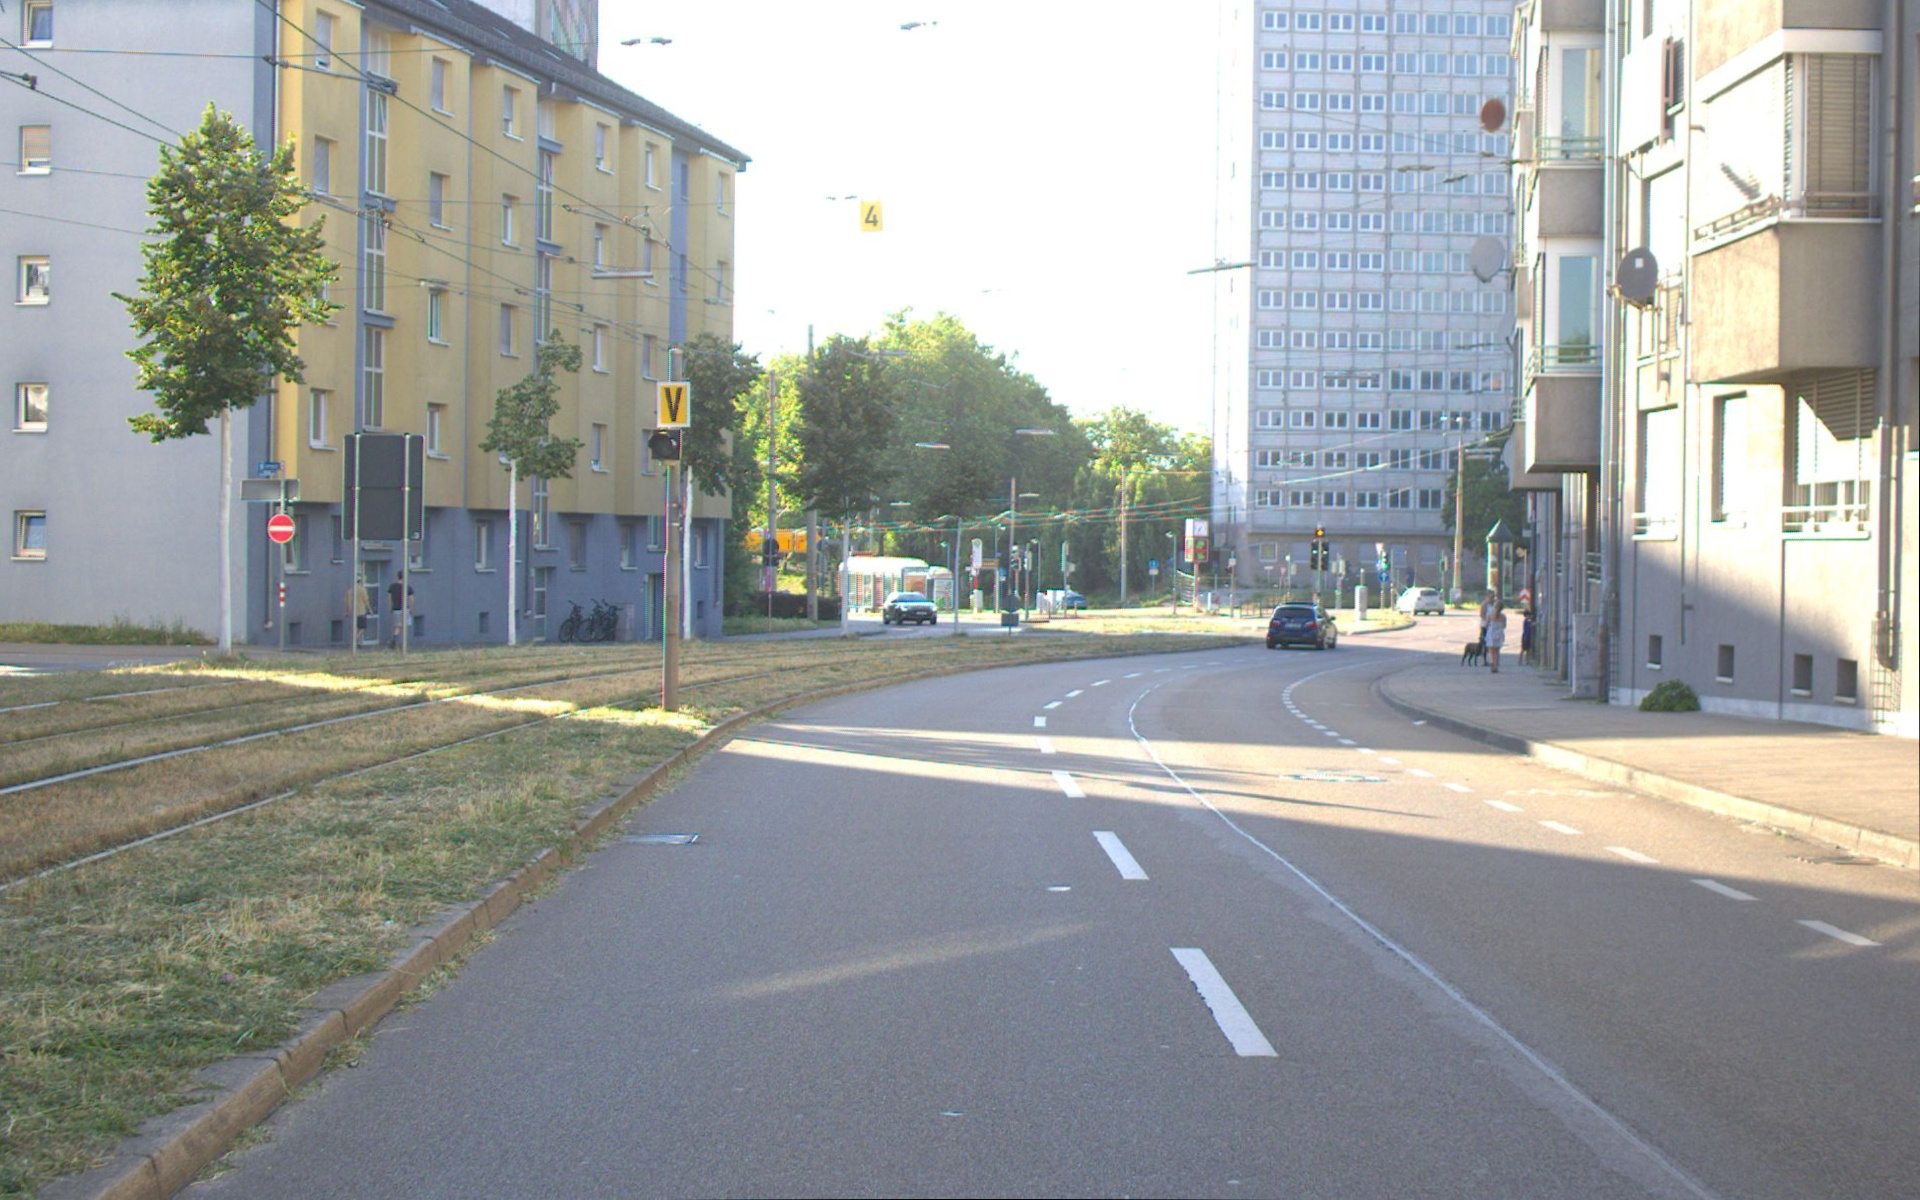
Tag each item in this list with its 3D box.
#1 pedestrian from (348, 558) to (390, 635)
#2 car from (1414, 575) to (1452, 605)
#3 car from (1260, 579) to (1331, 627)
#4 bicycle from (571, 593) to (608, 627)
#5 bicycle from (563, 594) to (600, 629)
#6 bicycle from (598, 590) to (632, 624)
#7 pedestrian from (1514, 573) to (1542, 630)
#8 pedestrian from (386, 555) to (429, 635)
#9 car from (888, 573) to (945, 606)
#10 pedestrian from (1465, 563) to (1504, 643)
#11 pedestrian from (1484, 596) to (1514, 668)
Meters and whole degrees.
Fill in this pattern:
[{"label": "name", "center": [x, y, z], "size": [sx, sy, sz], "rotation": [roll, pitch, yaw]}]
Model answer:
[{"label": "pedestrian", "center": [-13.398, -0.087, 77.927], "size": [0.616, 1.689, 0.706], "rotation": [5, 2, 10]}, {"label": "car", "center": [25.281, -0.533, 183.892], "size": [1.994, 1.525, 3.999], "rotation": [1, 1, 7]}, {"label": "car", "center": [10.466, 0.080, 107.093], "size": [1.773, 1.417, 3.854], "rotation": [0, 1, 12]}, {"label": "bicycle", "center": [-10.385, 0.283, 96.502], "size": [0.427, 0.922, 1.911], "rotation": [4, 1, 11]}, {"label": "bicycle", "center": [-10.479, 0.310, 95.225], "size": [0.427, 0.922, 1.911], "rotation": [4, 1, 11]}, {"label": "bicycle", "center": [-9.922, 0.209, 98.968], "size": [0.427, 0.956, 1.911], "rotation": [0, 0, 11]}, {"label": "pedestrian", "center": [12.476, 0.034, 75.501], "size": [0.587, 1.247, 0.584], "rotation": [0, 1, 10]}, {"label": "pedestrian", "center": [-12.620, -0.119, 78.526], "size": [0.593, 1.767, 0.885], "rotation": [5, 2, 10]}, {"label": "car", "center": [-1.993, -0.481, 158.468], "size": [1.794, 1.464, 4.794], "rotation": [-2, 0, 9]}, {"label": "pedestrian", "center": [11.642, 0.066, 76.230], "size": [0.830, 1.765, 0.995], "rotation": [0, 1, 10]}, {"label": "pedestrian", "center": [10.055, 0.600, 64.171], "size": [0.514, 1.340, 0.609], "rotation": [-1, 0, 6]}]
